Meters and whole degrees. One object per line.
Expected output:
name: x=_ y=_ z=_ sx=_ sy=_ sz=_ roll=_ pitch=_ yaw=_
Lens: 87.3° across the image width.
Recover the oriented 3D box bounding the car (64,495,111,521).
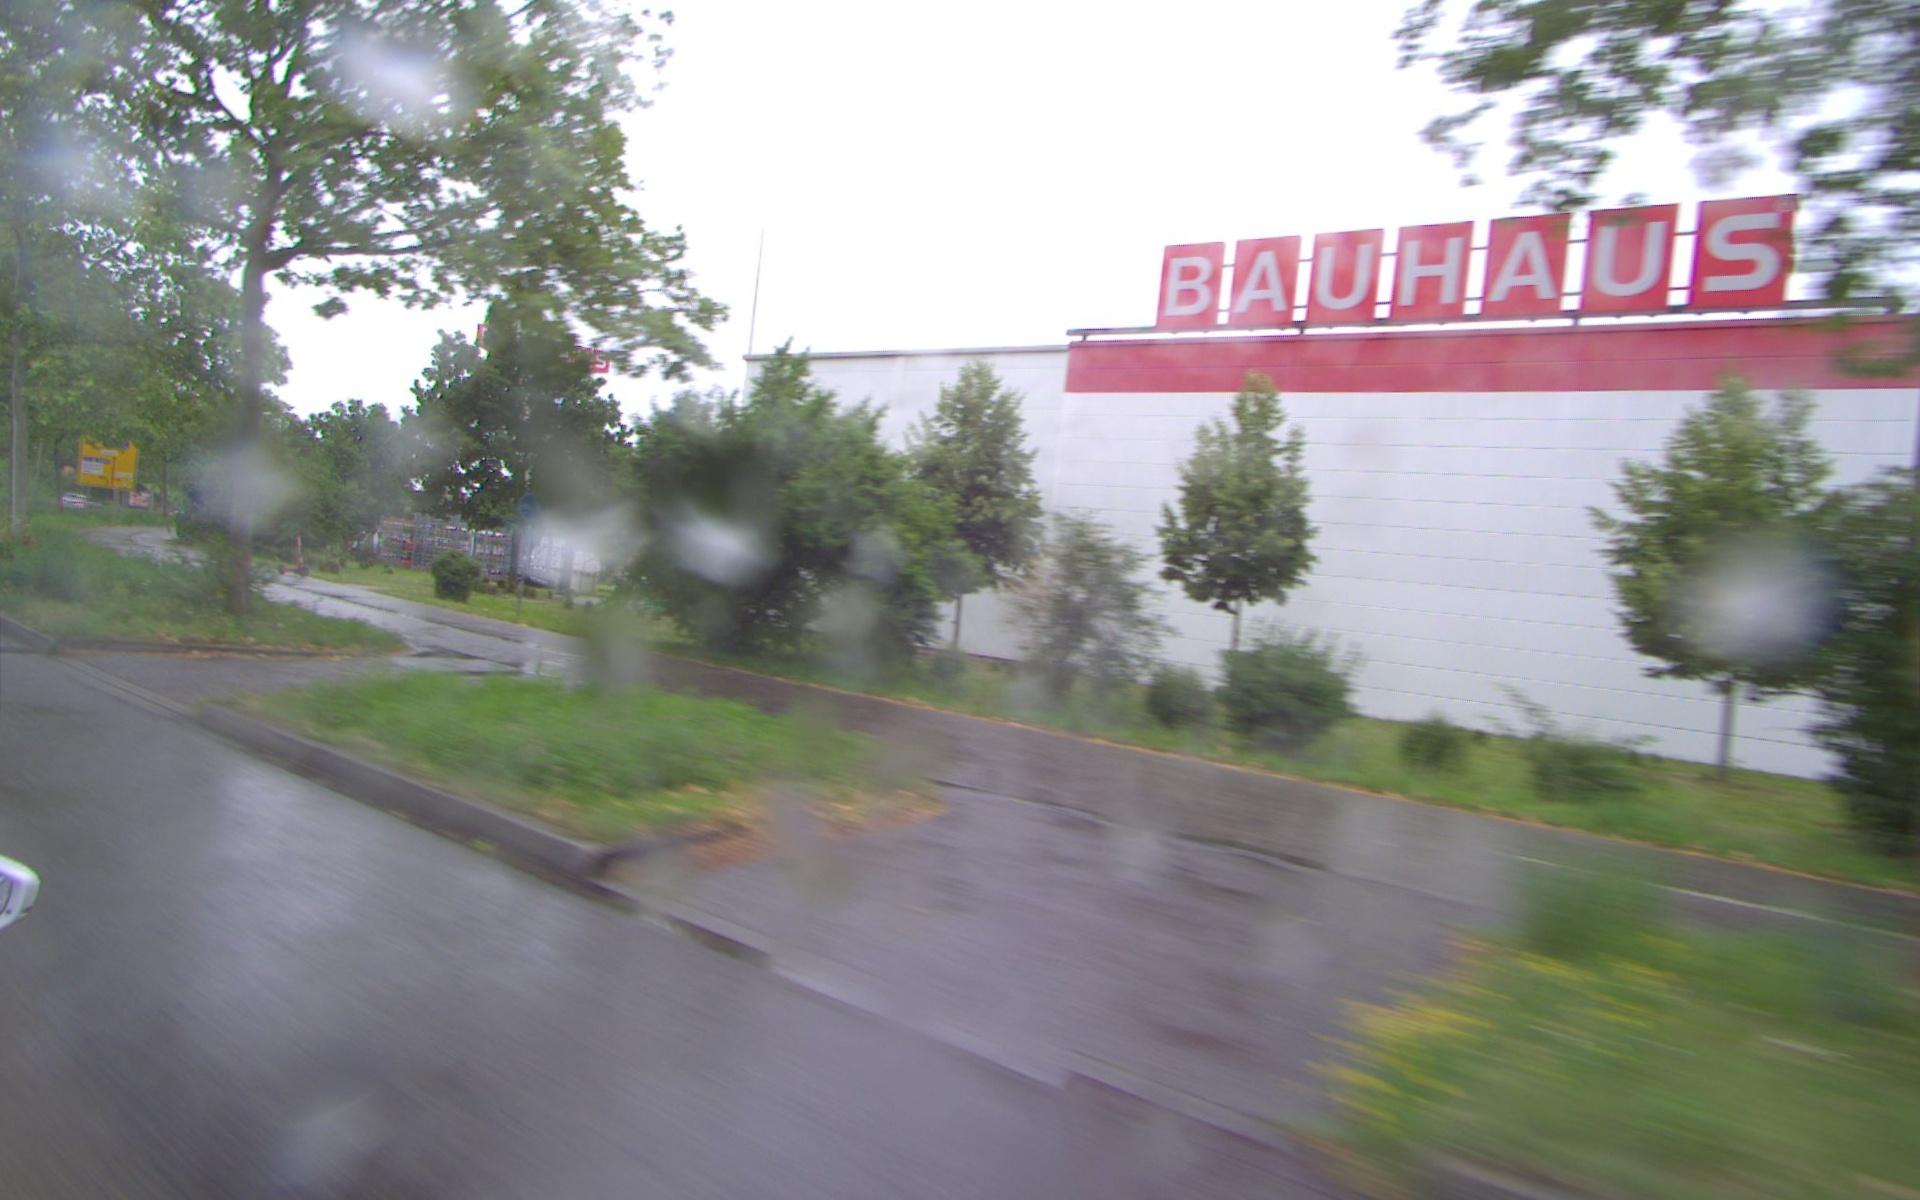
car: x=-68.883 y=-7.237 z=79.502 sx=1.766 sy=1.574 sz=3.972 roll=9 pitch=-1 yaw=-28

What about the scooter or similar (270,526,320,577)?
scooter or similar: x=-17.698 y=-1.284 z=26.764 sx=1.092 sy=1.213 sz=0.549 roll=7 pitch=1 yaw=27
